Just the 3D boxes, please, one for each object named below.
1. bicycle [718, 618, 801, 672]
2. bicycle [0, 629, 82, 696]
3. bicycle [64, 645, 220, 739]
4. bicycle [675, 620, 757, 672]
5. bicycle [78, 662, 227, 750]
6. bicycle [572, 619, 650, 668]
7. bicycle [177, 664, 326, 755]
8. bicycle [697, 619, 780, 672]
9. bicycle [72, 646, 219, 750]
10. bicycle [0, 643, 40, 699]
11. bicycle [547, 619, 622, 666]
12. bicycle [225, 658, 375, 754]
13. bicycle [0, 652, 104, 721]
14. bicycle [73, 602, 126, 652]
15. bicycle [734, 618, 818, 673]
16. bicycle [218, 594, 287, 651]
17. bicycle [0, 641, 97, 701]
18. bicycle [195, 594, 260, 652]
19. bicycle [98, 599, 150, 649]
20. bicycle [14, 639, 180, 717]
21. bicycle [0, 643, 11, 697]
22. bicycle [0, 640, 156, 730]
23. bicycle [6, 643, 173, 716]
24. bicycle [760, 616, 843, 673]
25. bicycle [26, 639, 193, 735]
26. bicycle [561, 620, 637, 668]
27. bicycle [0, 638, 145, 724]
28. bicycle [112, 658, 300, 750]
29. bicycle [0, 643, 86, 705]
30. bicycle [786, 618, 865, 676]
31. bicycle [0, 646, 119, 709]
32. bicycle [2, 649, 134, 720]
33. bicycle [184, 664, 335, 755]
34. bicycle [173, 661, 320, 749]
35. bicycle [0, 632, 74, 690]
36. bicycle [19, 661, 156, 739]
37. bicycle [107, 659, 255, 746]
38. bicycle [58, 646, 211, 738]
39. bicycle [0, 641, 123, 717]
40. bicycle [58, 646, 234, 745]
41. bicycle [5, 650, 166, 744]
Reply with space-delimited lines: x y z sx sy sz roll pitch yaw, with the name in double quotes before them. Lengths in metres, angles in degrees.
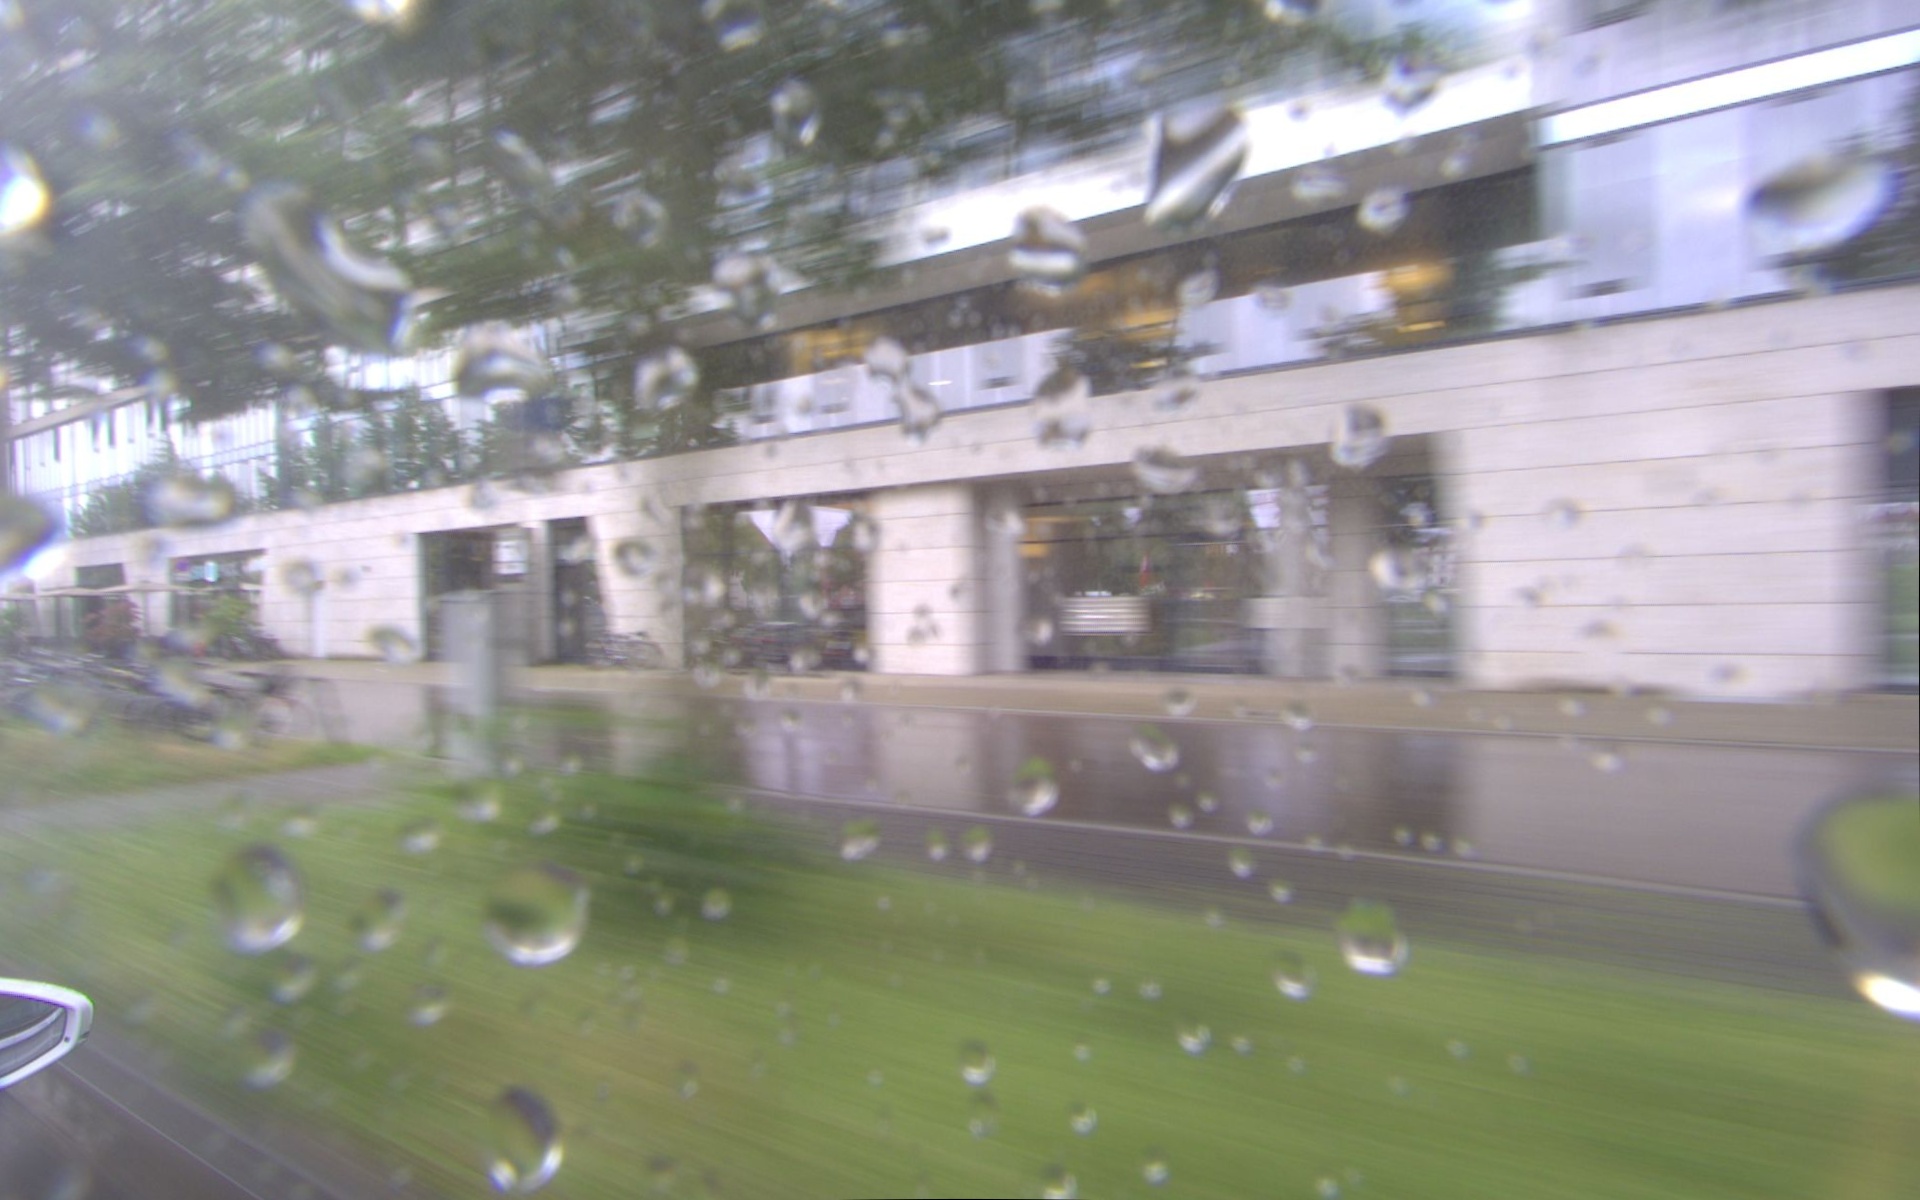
"bicycle" -4.115 0.911 20.694 0.534 1.042 1.801 -1 0 35
"bicycle" -14.749 0.970 15.558 0.316 1.002 1.639 0 1 32
"bicycle" -9.996 1.102 12.280 0.344 1.031 1.432 0 1 39
"bicycle" -5.226 0.969 21.524 0.534 1.042 1.801 -1 0 35
"bicycle" -9.120 1.177 11.349 0.272 0.869 1.283 0 0 37
"bicycle" -7.926 0.980 22.797 0.407 1.042 1.745 -1 0 35
"bicycle" -7.669 1.165 10.884 0.272 0.860 1.280 0 1 44
"bicycle" -4.634 0.933 21.071 0.534 1.042 1.801 -1 0 35
"bicycle" -9.439 1.107 11.636 0.272 1.089 1.282 0 1 41
"bicycle" -15.506 1.137 15.726 0.273 0.860 1.519 0 0 32
"bicycle" -8.724 0.970 23.341 0.417 1.042 1.688 -1 0 35
"bicycle" -6.986 1.098 10.641 0.298 0.885 1.280 0 1 44
"bicycle" -12.826 1.197 13.901 0.271 0.860 1.402 0 1 30
"bicycle" -32.474 0.994 37.768 3.075 1.746 0.643 2 2 33
"bicycle" -3.702 0.893 20.241 0.534 1.042 1.801 -1 0 35
"bicycle" -23.632 0.716 33.429 3.075 1.746 0.770 2 2 33
"bicycle" -14.076 1.065 15.087 0.271 0.860 1.612 -1 -1 32
"bicycle" -23.948 0.723 32.702 3.075 1.746 0.643 2 2 33
"bicycle" -32.073 0.898 38.398 3.075 1.746 0.643 2 2 33
"bicycle" -11.510 1.013 13.422 0.308 0.960 1.706 -1 -1 26
"bicycle" -15.870 1.145 15.790 0.271 0.860 1.285 0 0 32
"bicycle" -12.113 1.135 13.783 0.292 1.111 1.610 0 1 30
"bicycle" -11.803 1.054 13.637 0.309 0.860 1.704 0 0 29
"bicycle" -3.140 0.867 19.995 0.534 1.042 1.801 -1 0 35
"bicycle" -11.211 1.116 13.272 0.279 1.117 1.705 0 1 26
"bicycle" -8.300 1.001 23.080 0.417 1.042 1.688 -1 0 35
"bicycle" -12.384 1.092 13.923 0.292 1.067 1.610 0 1 30
"bicycle" -8.397 1.133 11.228 0.272 0.860 1.666 0 1 37
"bicycle" -13.878 1.093 14.892 0.271 0.860 1.285 0 1 32
"bicycle" -2.595 0.891 19.510 0.396 1.042 1.801 -1 0 35
"bicycle" -13.506 1.135 14.827 0.271 0.860 1.612 -1 -1 32
"bicycle" -12.888 1.194 14.509 0.271 0.909 1.407 0 1 30
"bicycle" -7.447 1.143 10.691 0.272 0.843 1.280 0 1 44
"bicycle" -7.884 1.140 11.104 0.272 0.860 1.280 0 1 44
"bicycle" -15.103 0.970 15.689 0.271 0.860 1.813 0 1 32
"bicycle" -11.078 1.253 12.754 0.271 0.860 1.287 0 0 27
"bicycle" -8.765 1.132 11.306 0.272 0.860 1.283 0 1 37
"bicycle" -10.291 1.124 12.529 0.344 1.031 1.433 0 0 37
"bicycle" -13.276 1.131 14.625 0.271 1.035 1.612 -1 -1 32
"bicycle" -9.678 1.100 11.957 0.403 1.031 1.567 0 1 39
"bicycle" -10.823 1.171 12.441 0.343 1.031 1.450 0 0 31
